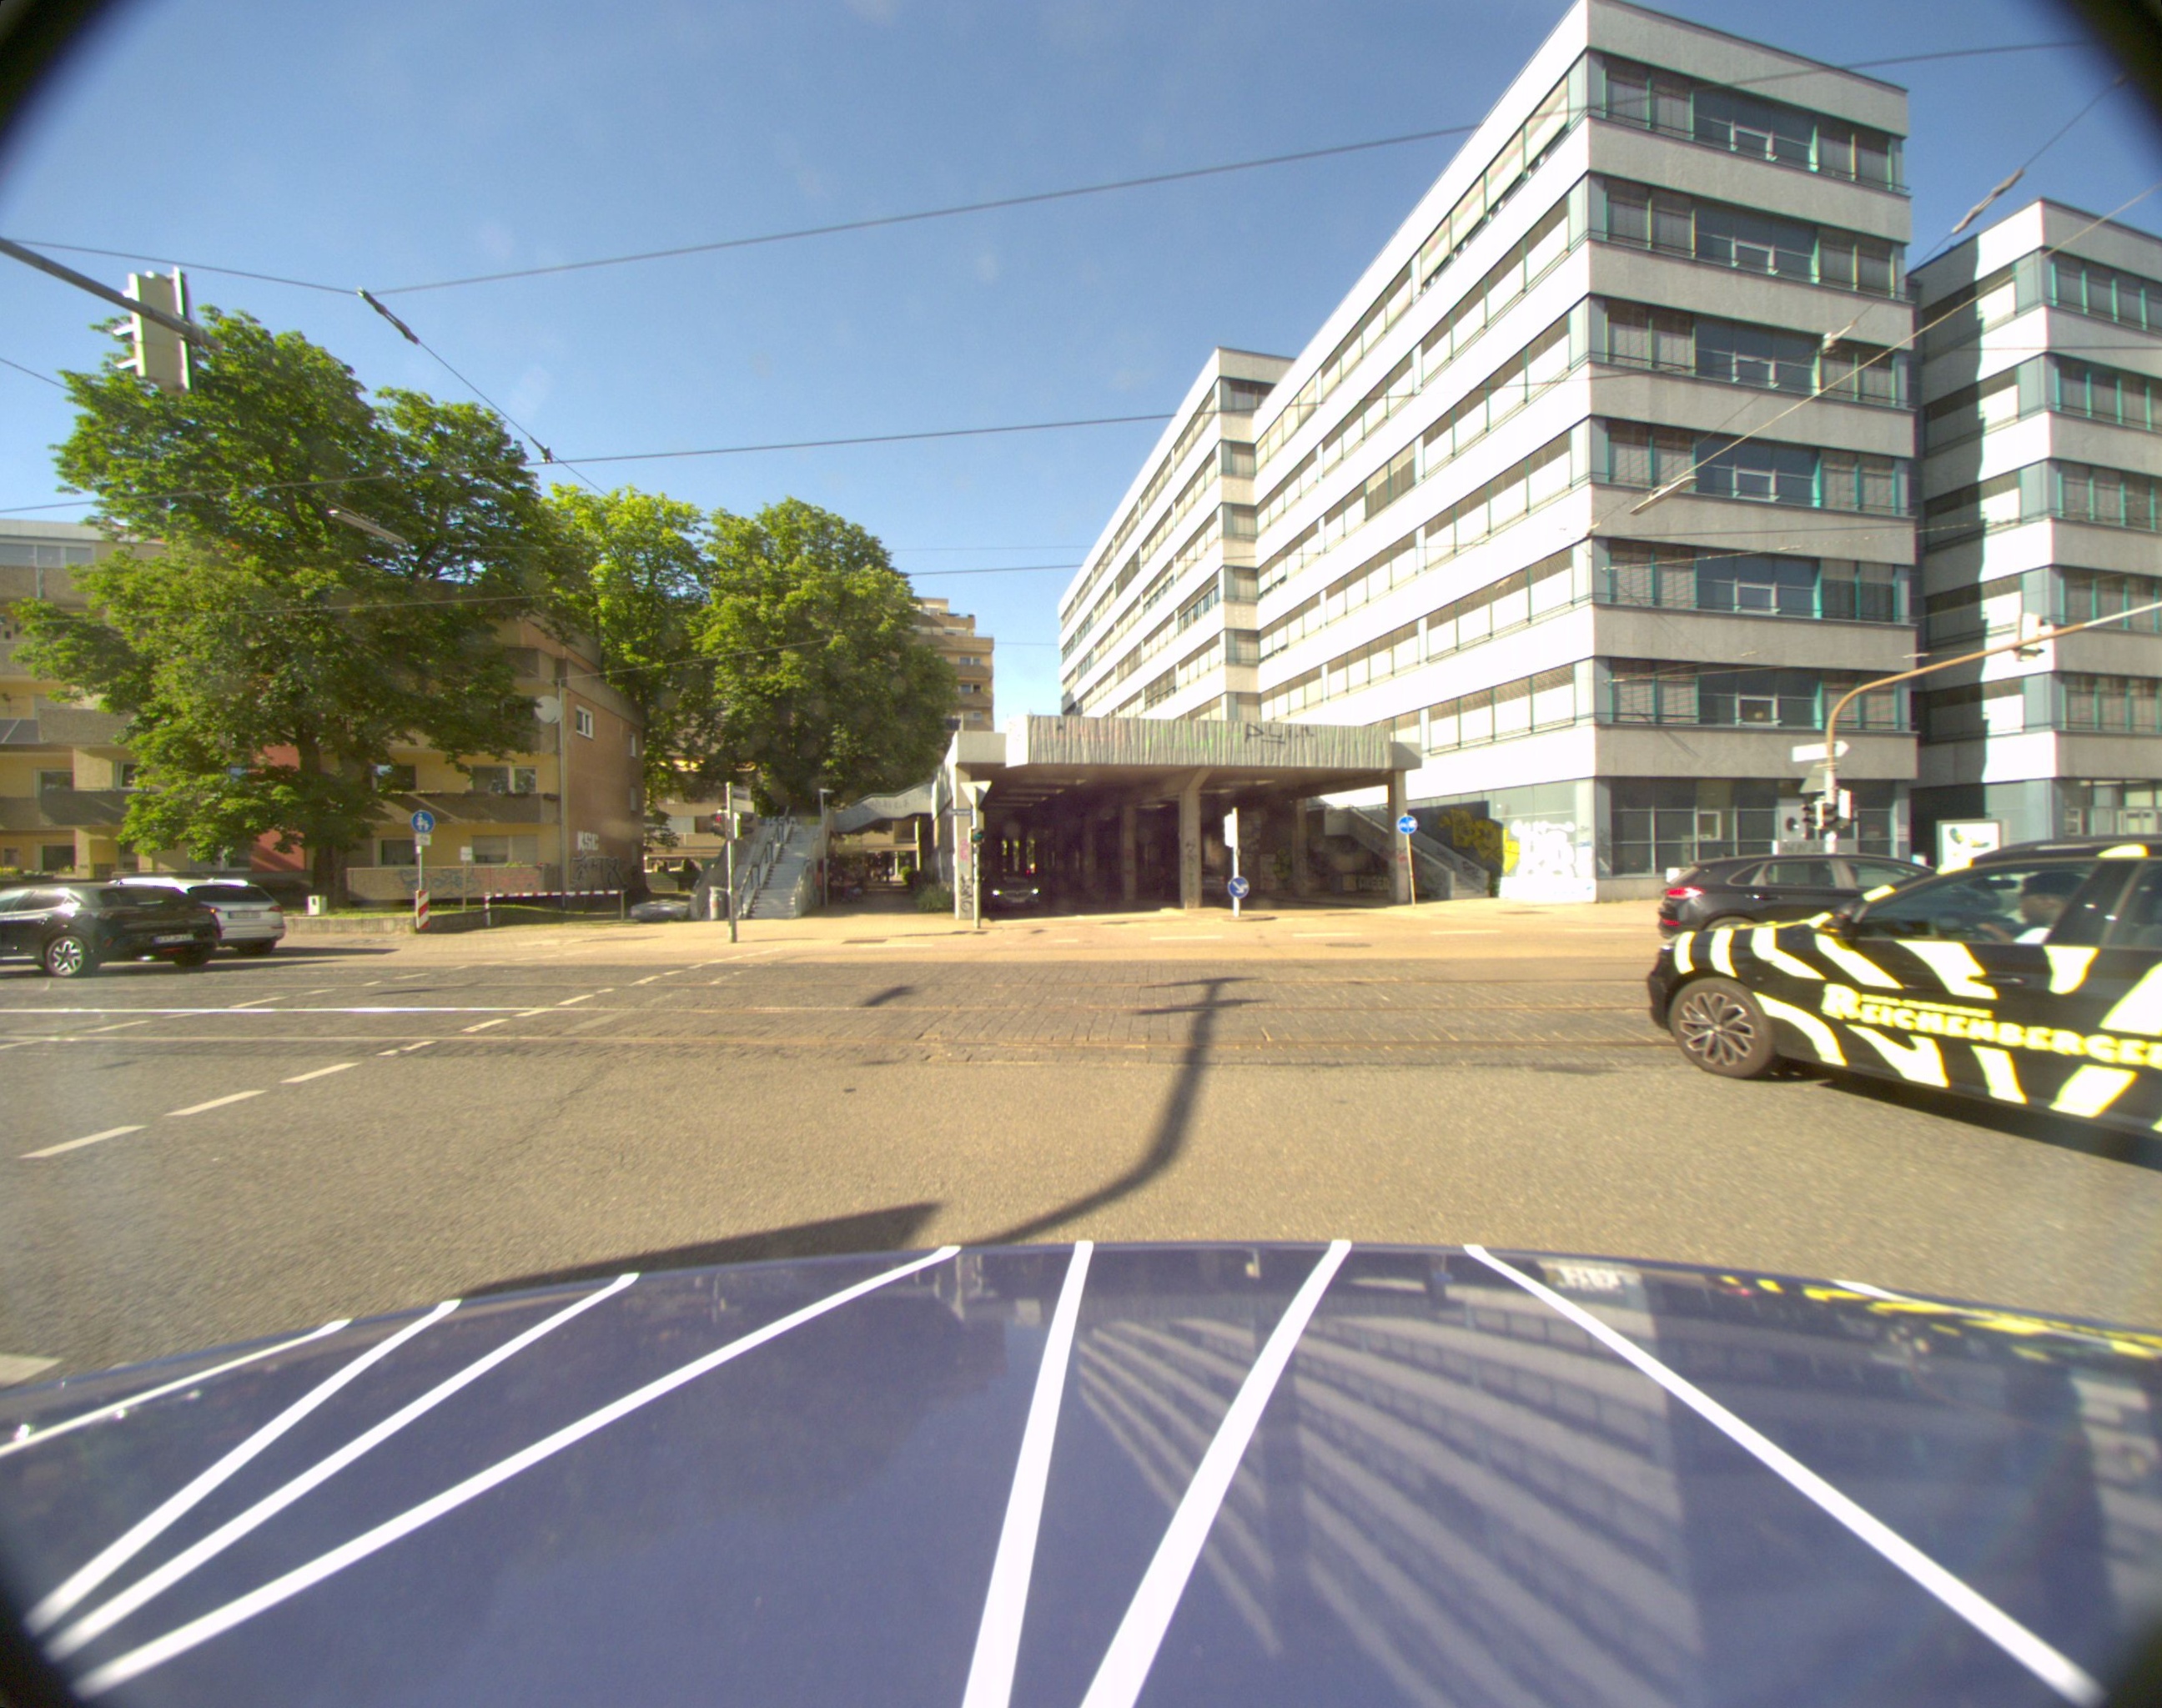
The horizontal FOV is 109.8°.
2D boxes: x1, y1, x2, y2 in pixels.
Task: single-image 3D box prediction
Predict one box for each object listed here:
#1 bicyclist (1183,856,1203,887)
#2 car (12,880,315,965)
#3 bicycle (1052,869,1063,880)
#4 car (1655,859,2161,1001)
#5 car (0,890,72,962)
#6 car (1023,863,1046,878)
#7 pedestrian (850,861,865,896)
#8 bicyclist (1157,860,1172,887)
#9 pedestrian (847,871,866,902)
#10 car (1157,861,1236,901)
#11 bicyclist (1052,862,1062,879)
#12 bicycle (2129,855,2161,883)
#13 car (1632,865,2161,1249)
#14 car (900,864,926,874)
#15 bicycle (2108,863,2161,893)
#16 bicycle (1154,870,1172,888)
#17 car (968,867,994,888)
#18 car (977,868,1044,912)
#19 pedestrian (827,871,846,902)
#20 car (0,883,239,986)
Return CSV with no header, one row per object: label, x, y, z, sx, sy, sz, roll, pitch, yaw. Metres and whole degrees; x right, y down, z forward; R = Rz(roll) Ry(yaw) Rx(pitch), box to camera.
bicyclist,6.118,0.958,41.538,0.785,1.650,1.030,-1,0,-12
car,-19.121,1.381,15.960,4.317,1.610,1.937,0,0,5
bicycle,-2.471,2.179,78.874,0.701,1.083,1.858,-1,-2,-14
car,10.087,0.817,9.731,4.314,1.443,1.810,-1,0,38
car,-24.898,1.584,16.602,3.505,1.522,1.657,0,-1,1
car,-4.629,1.630,74.582,1.663,1.432,3.459,-1,0,-13
pedestrian,-11.012,1.186,37.482,0.659,1.681,0.589,-1,0,-20
bicyclist,5.145,1.192,46.971,0.608,1.623,0.909,-1,0,-13
pedestrian,-9.693,1.394,32.760,0.725,1.291,0.589,-1,0,-20
car,4.955,1.123,33.221,1.892,1.600,4.143,-1,0,-15
bicyclist,-2.507,1.689,78.904,0.748,1.701,0.966,-1,-2,-14
bicycle,38.785,0.544,26.950,0.487,0.975,1.899,-2,0,-4
car,5.173,0.828,3.591,1.794,1.504,4.113,-1,0,-8
car,-25.489,2.288,115.094,3.580,1.477,1.668,-1,0,-3
bicycle,37.515,0.839,26.721,0.487,0.975,1.665,-2,0,-4
bicycle,5.089,1.545,47.163,0.527,1.084,1.858,-1,0,-13
car,-7.860,1.803,59.448,1.618,1.545,4.009,-1,0,-12
car,-2.977,1.392,30.986,1.960,1.546,5.034,-1,0,-14
pedestrian,-10.444,1.389,32.490,0.741,1.291,0.612,-1,0,-20
car,-17.068,1.329,12.842,3.752,1.508,1.788,-2,0,3
